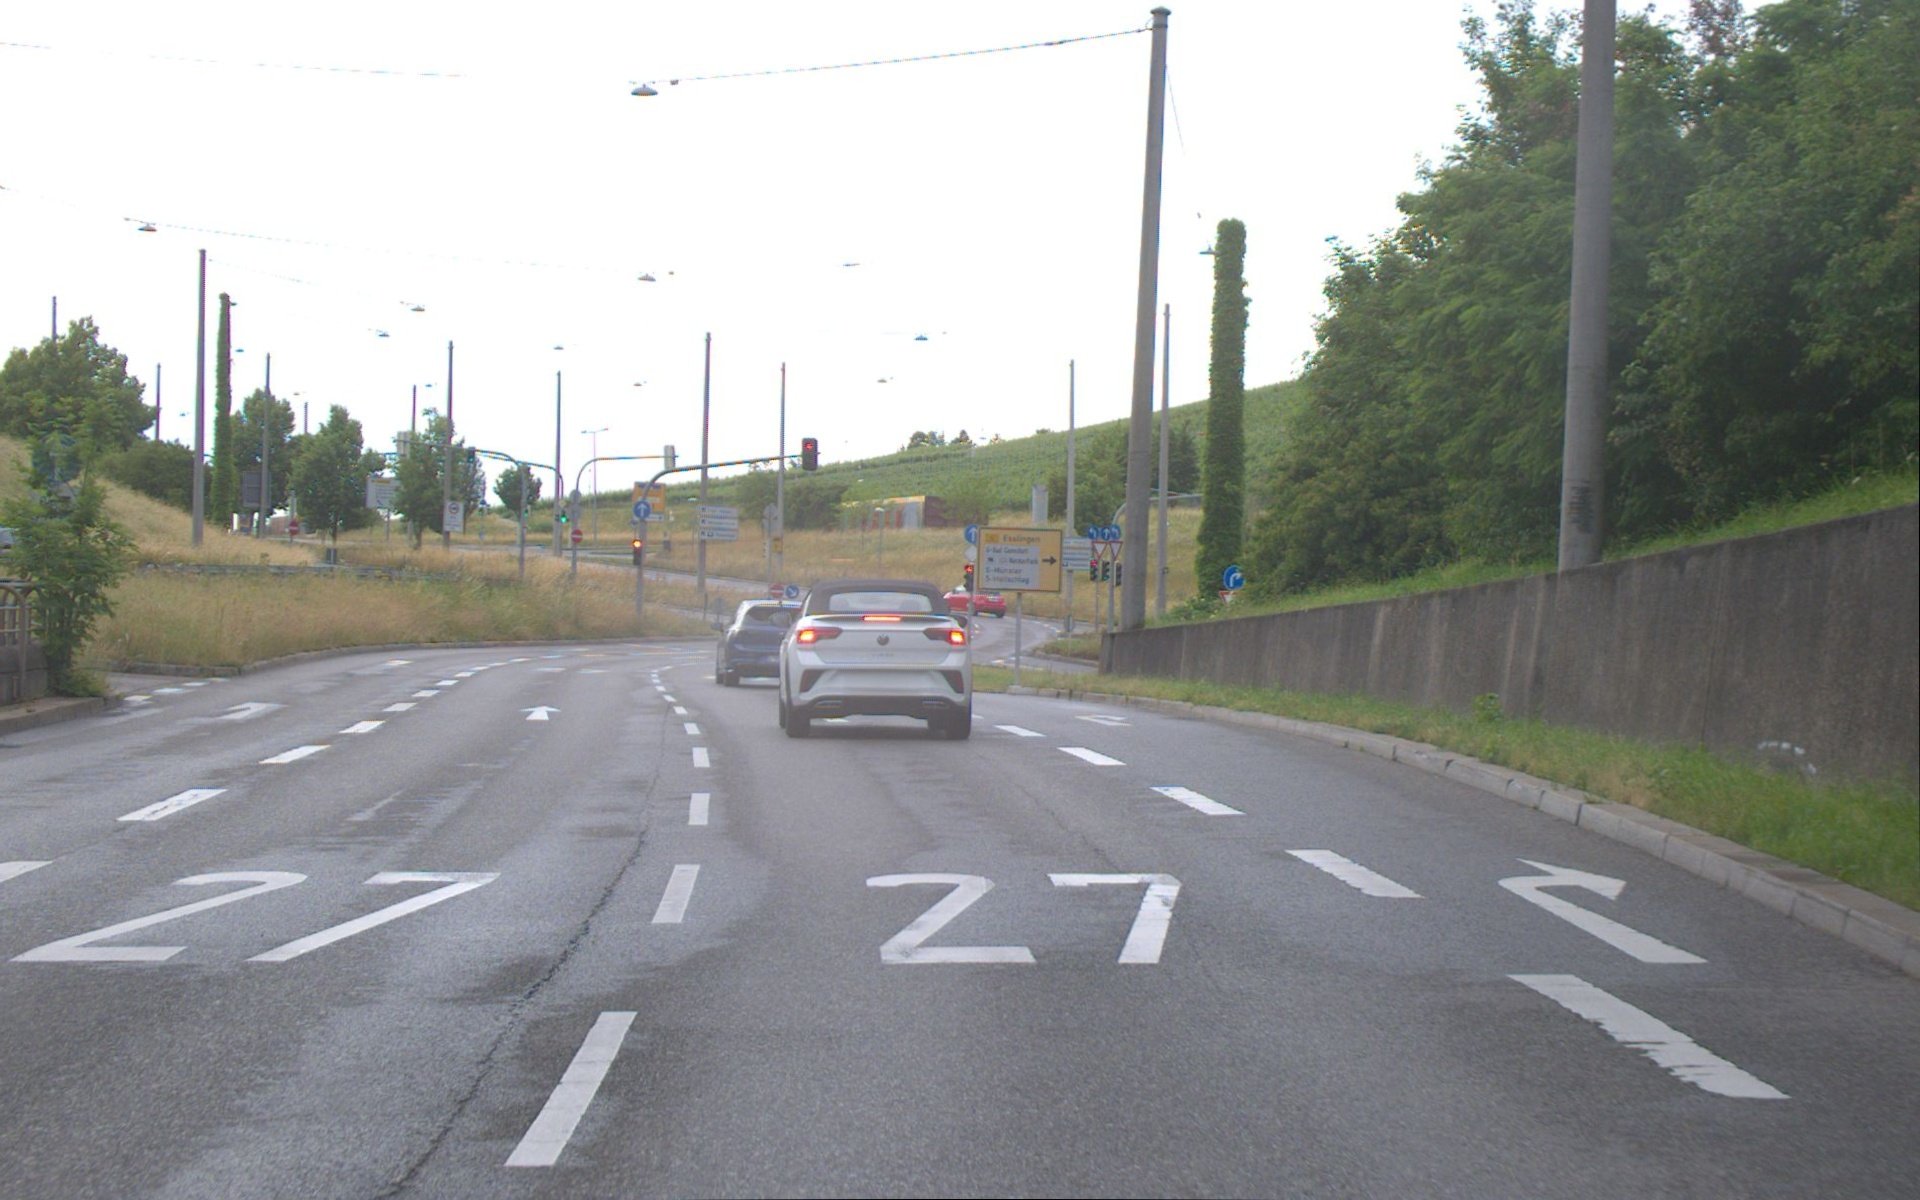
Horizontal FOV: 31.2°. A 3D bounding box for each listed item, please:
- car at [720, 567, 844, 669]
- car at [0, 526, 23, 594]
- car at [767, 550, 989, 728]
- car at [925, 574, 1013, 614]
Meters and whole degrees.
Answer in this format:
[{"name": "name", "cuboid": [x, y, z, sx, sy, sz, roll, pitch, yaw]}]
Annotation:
[{"name": "car", "cuboid": [-2.954, 0.323, 57.905, 1.926, 1.594, 4.061, 2, -1, -1]}, {"name": "car", "cuboid": [-24.129, -1.041, 82.333, 1.993, 1.631, 4.722, 4, 0, 0]}, {"name": "car", "cuboid": [-0.863, 0.381, 34.126, 1.995, 1.573, 4.126, 3, -1, -3]}, {"name": "car", "cuboid": [0.393, -0.273, 156.624, 1.993, 1.706, 4.564, 0, 1, -30]}]
